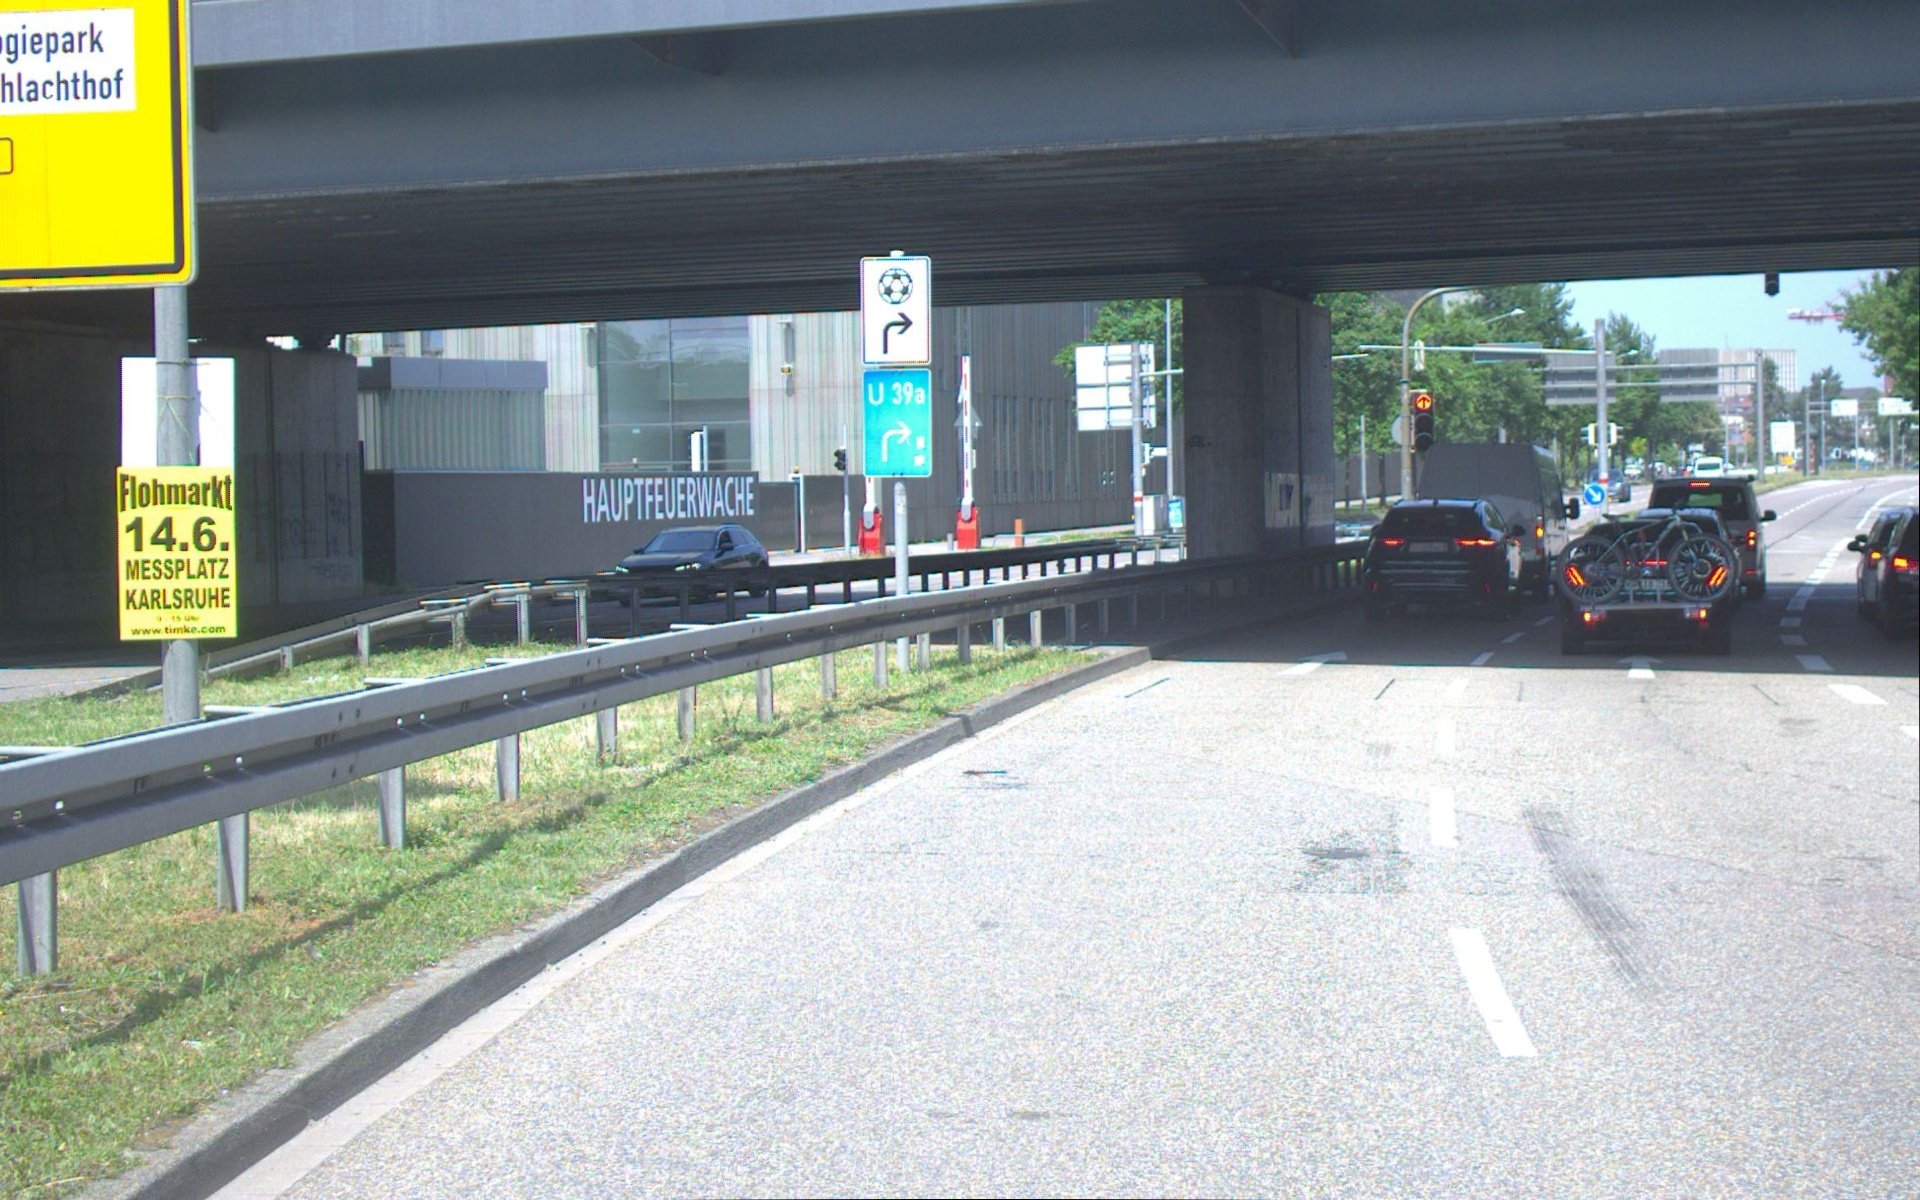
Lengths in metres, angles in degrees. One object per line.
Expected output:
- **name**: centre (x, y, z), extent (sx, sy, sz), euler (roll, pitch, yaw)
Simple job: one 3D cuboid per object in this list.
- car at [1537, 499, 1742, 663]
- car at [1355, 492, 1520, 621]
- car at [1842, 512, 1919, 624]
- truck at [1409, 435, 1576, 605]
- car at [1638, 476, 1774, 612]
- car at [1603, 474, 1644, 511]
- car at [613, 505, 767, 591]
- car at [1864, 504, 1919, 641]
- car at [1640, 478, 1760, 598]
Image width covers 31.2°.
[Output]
- **car**: centre (7.249, -0.235, 36.387), extent (1.958, 1.628, 4.277), euler (0, 1, 14)
- **car**: centre (6.656, -0.601, 47.613), extent (1.941, 1.715, 3.998), euler (0, 1, 13)
- **car**: centre (13.228, -0.452, 47.385), extent (1.906, 1.483, 3.998), euler (0, 1, 12)
- **truck**: centre (8.498, -1.259, 54.611), extent (2.069, 2.529, 3.997), euler (-2, 1, 16)
- **car**: centre (10.786, -0.800, 49.709), extent (1.841, 1.883, 3.998), euler (0, 1, 12)
- **car**: centre (31.242, -5.053, 161.791), extent (1.855, 1.617, 3.998), euler (0, 0, 11)
- **car**: centre (-5.231, -1.001, 67.029), extent (1.855, 1.617, 3.998), euler (0, 1, 13)
- **car**: centre (11.819, -0.336, 41.001), extent (1.841, 1.563, 3.998), euler (0, 1, 12)
- **car**: centre (12.065, -1.000, 56.037), extent (1.841, 1.883, 3.998), euler (0, 1, 12)
